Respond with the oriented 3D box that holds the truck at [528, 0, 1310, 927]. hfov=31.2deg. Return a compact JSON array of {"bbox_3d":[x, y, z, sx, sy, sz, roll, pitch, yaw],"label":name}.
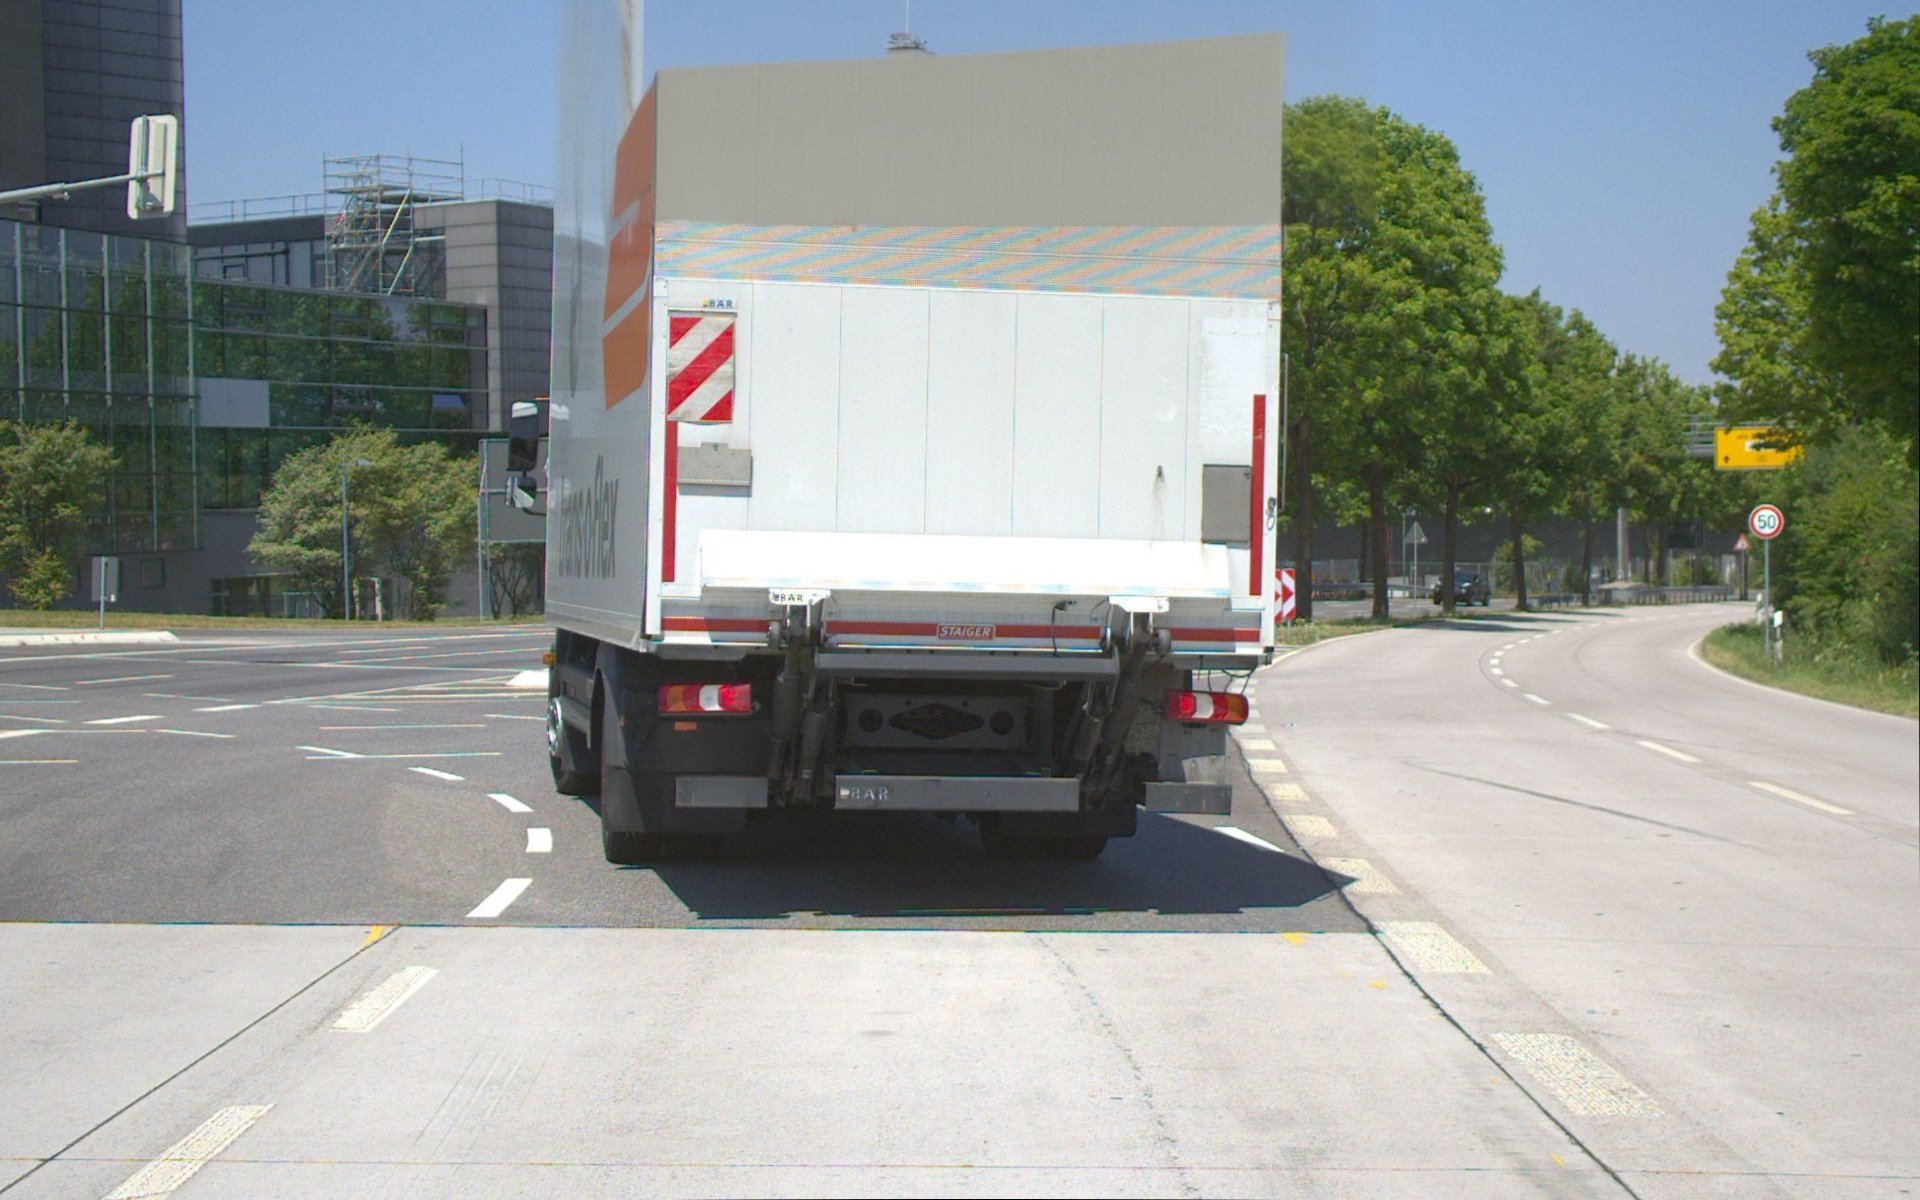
[{"bbox_3d":[-0.719,-0.721,18.033,2.769,3.846,9.373,0,1,-9],"label":"truck"}]
